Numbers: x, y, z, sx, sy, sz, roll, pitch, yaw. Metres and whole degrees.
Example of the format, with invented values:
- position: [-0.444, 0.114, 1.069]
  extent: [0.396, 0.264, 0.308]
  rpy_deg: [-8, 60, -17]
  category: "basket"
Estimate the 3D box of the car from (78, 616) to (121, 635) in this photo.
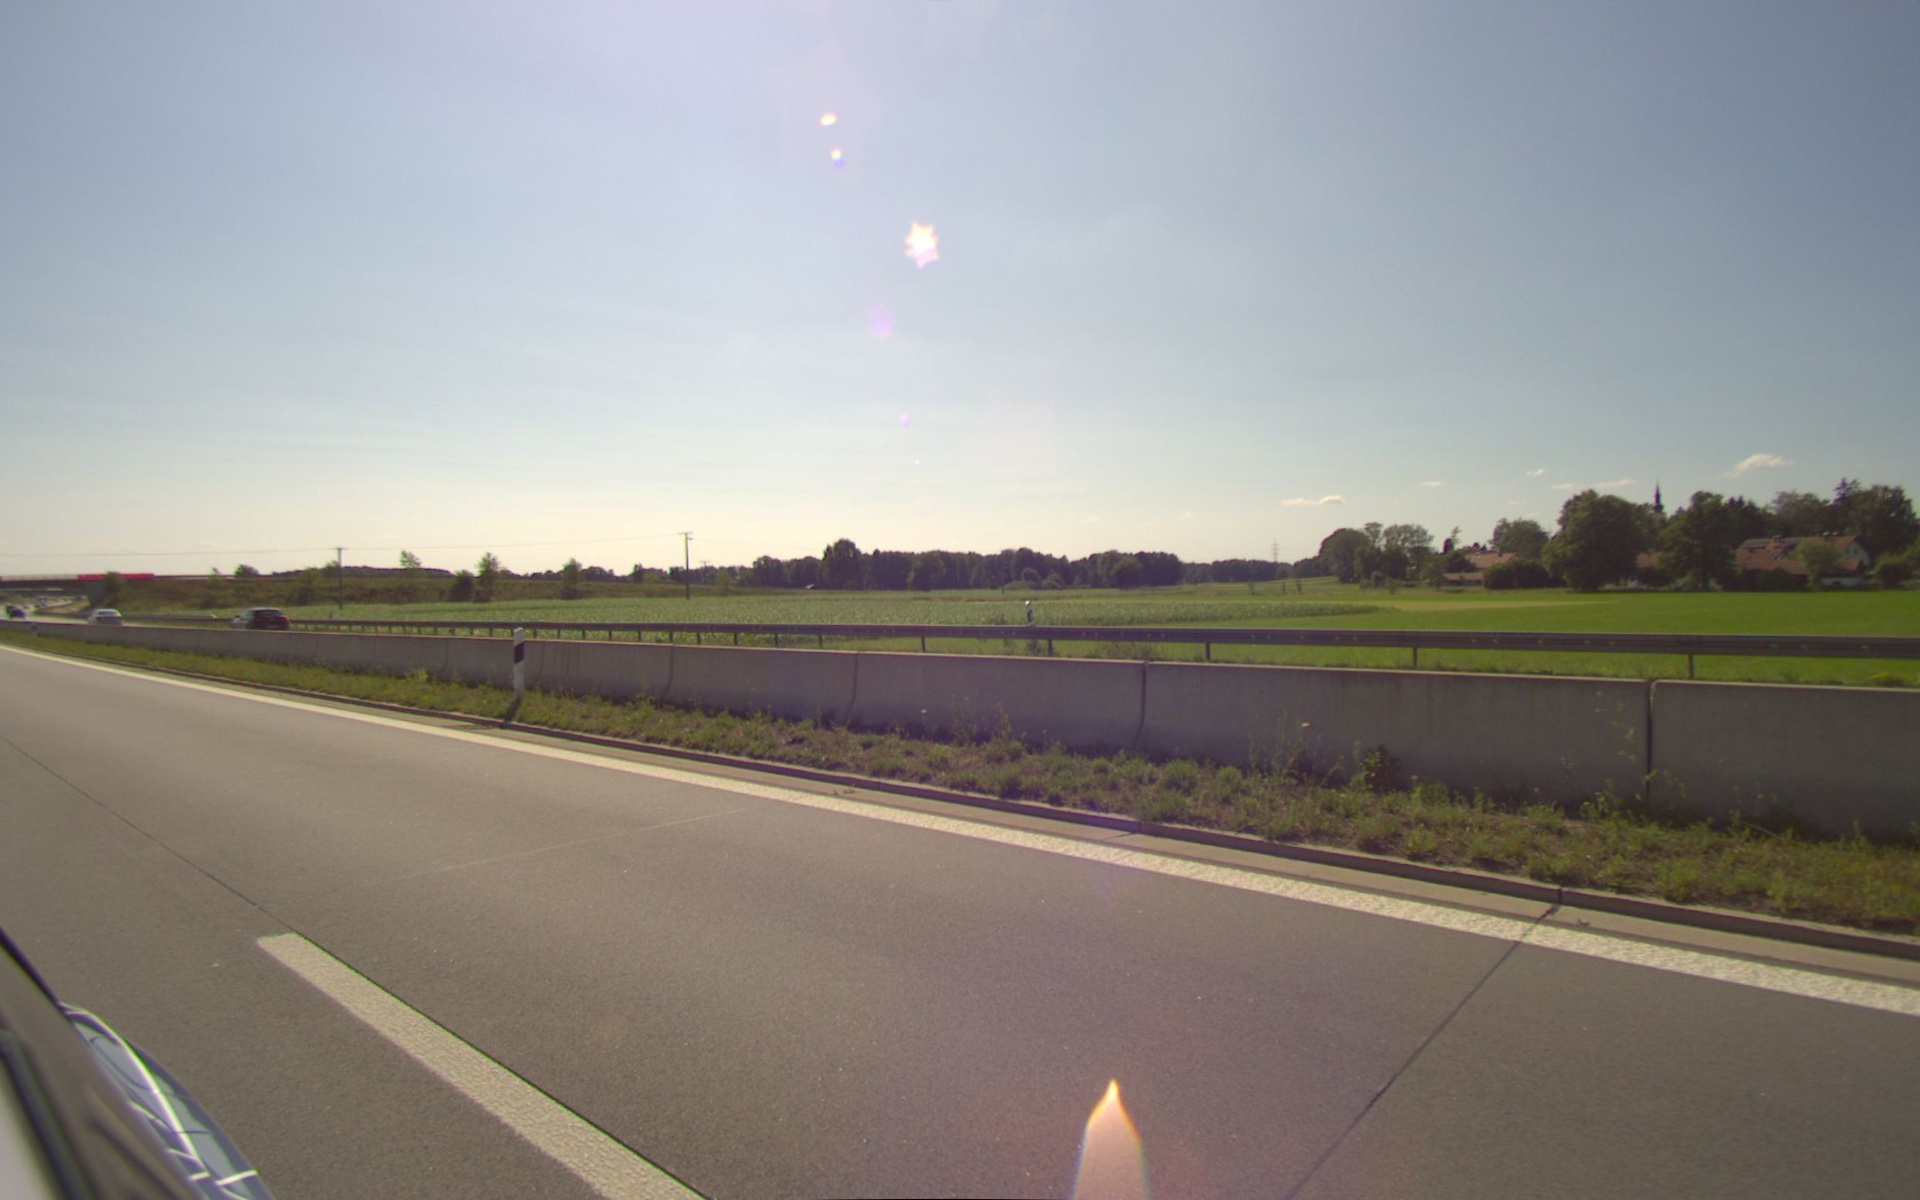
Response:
- position: [-66.574, 1.959, 78.260]
  extent: [5.293, 1.375, 1.804]
  rpy_deg: [-1, -1, 41]
  category: "car"

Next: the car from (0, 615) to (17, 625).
- position: [-145.553, 3.064, 154.660]
  extent: [4.664, 1.375, 1.802]
  rpy_deg: [-1, -1, 44]
  category: "car"

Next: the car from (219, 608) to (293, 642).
- position: [-35.099, 1.252, 50.428]
  extent: [4.911, 1.597, 1.839]
  rpy_deg: [-1, -1, 40]
  category: "car"
